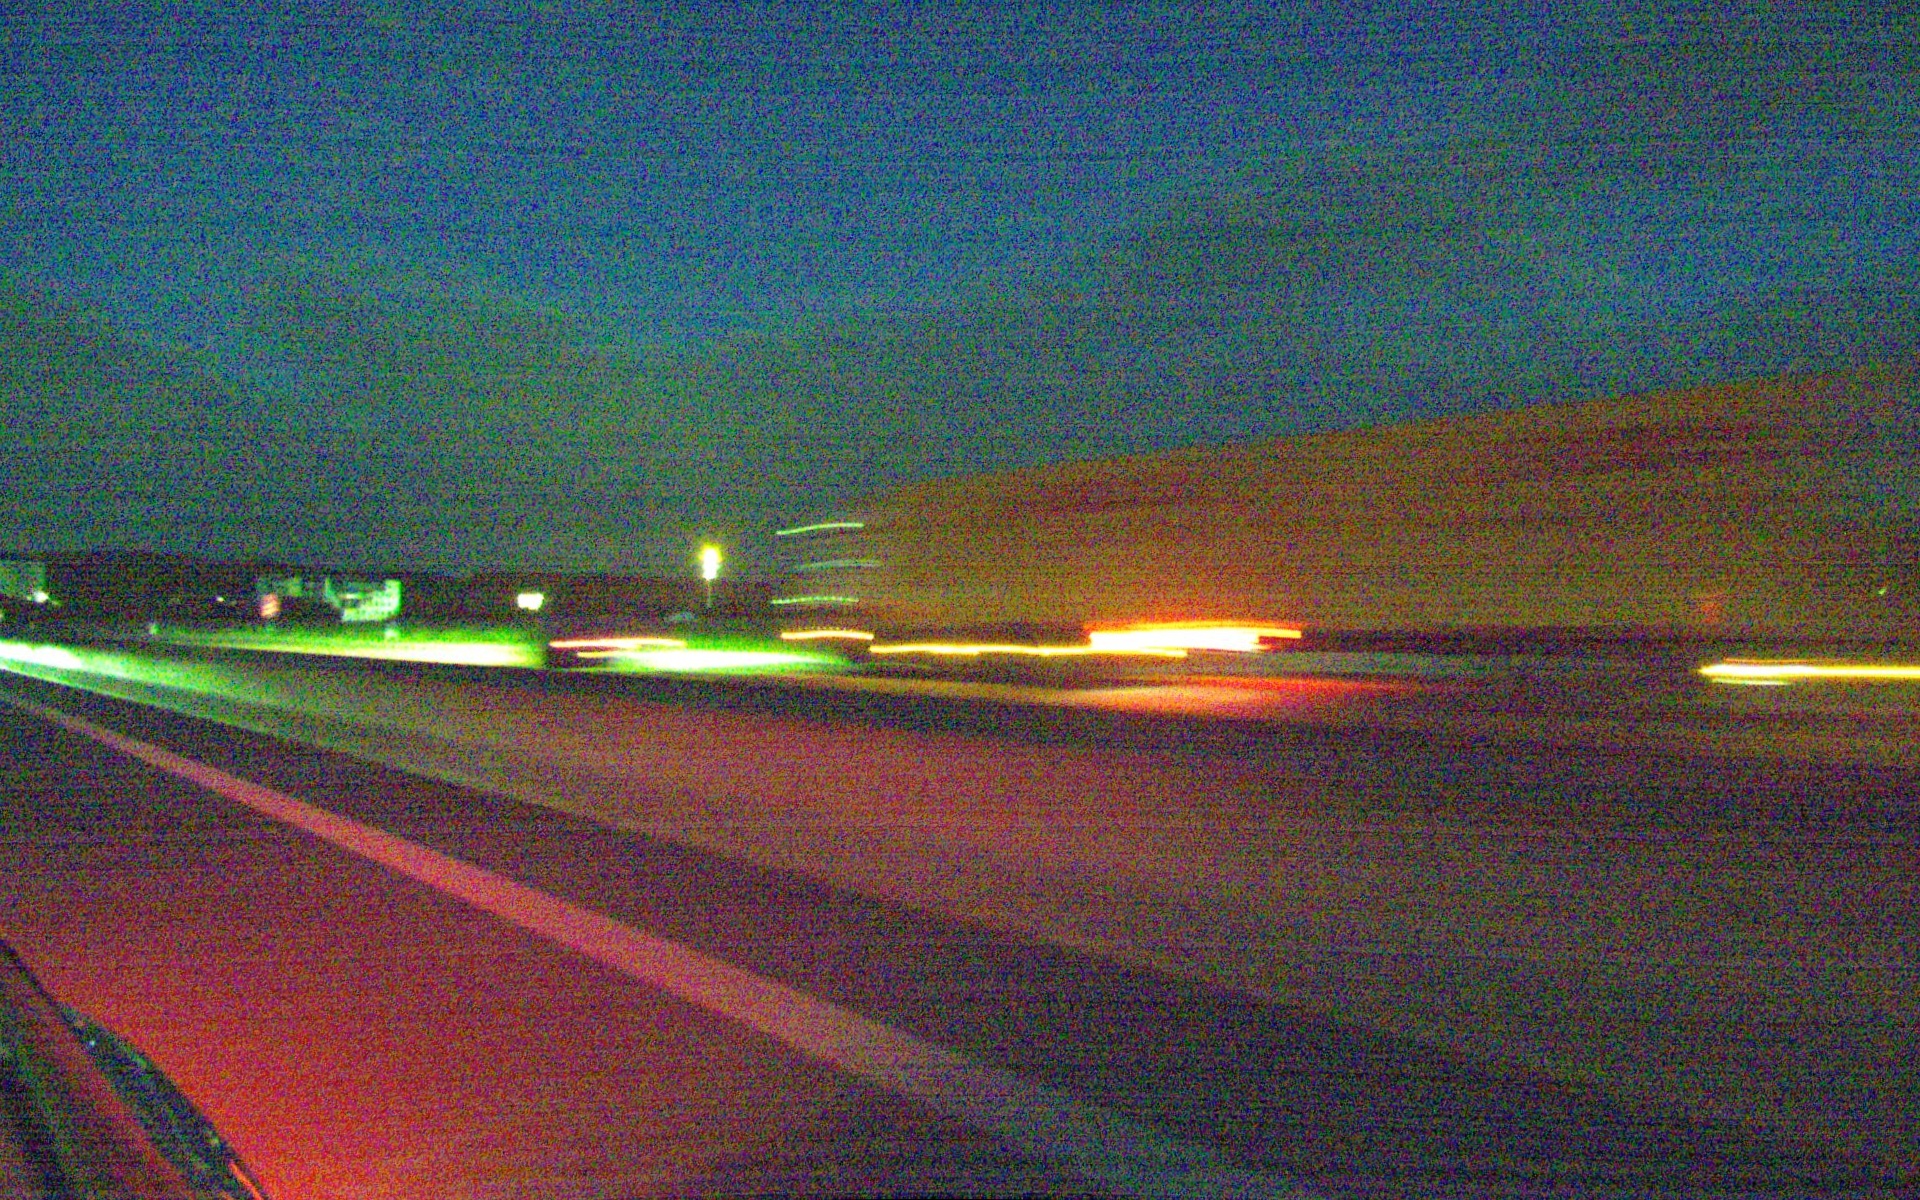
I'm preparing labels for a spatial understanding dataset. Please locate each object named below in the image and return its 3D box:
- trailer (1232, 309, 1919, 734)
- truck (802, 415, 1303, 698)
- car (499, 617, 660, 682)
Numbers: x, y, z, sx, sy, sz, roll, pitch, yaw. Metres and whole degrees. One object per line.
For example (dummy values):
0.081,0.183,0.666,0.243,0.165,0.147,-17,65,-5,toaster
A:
8.494,-0.775,14.134,8.599,4.472,3.018,-1,-1,42,trailer
1.288,-0.610,20.628,10.420,4.472,3.018,-1,-1,42,truck
-9.168,1.123,24.219,4.388,1.395,1.750,-1,-1,41,car
